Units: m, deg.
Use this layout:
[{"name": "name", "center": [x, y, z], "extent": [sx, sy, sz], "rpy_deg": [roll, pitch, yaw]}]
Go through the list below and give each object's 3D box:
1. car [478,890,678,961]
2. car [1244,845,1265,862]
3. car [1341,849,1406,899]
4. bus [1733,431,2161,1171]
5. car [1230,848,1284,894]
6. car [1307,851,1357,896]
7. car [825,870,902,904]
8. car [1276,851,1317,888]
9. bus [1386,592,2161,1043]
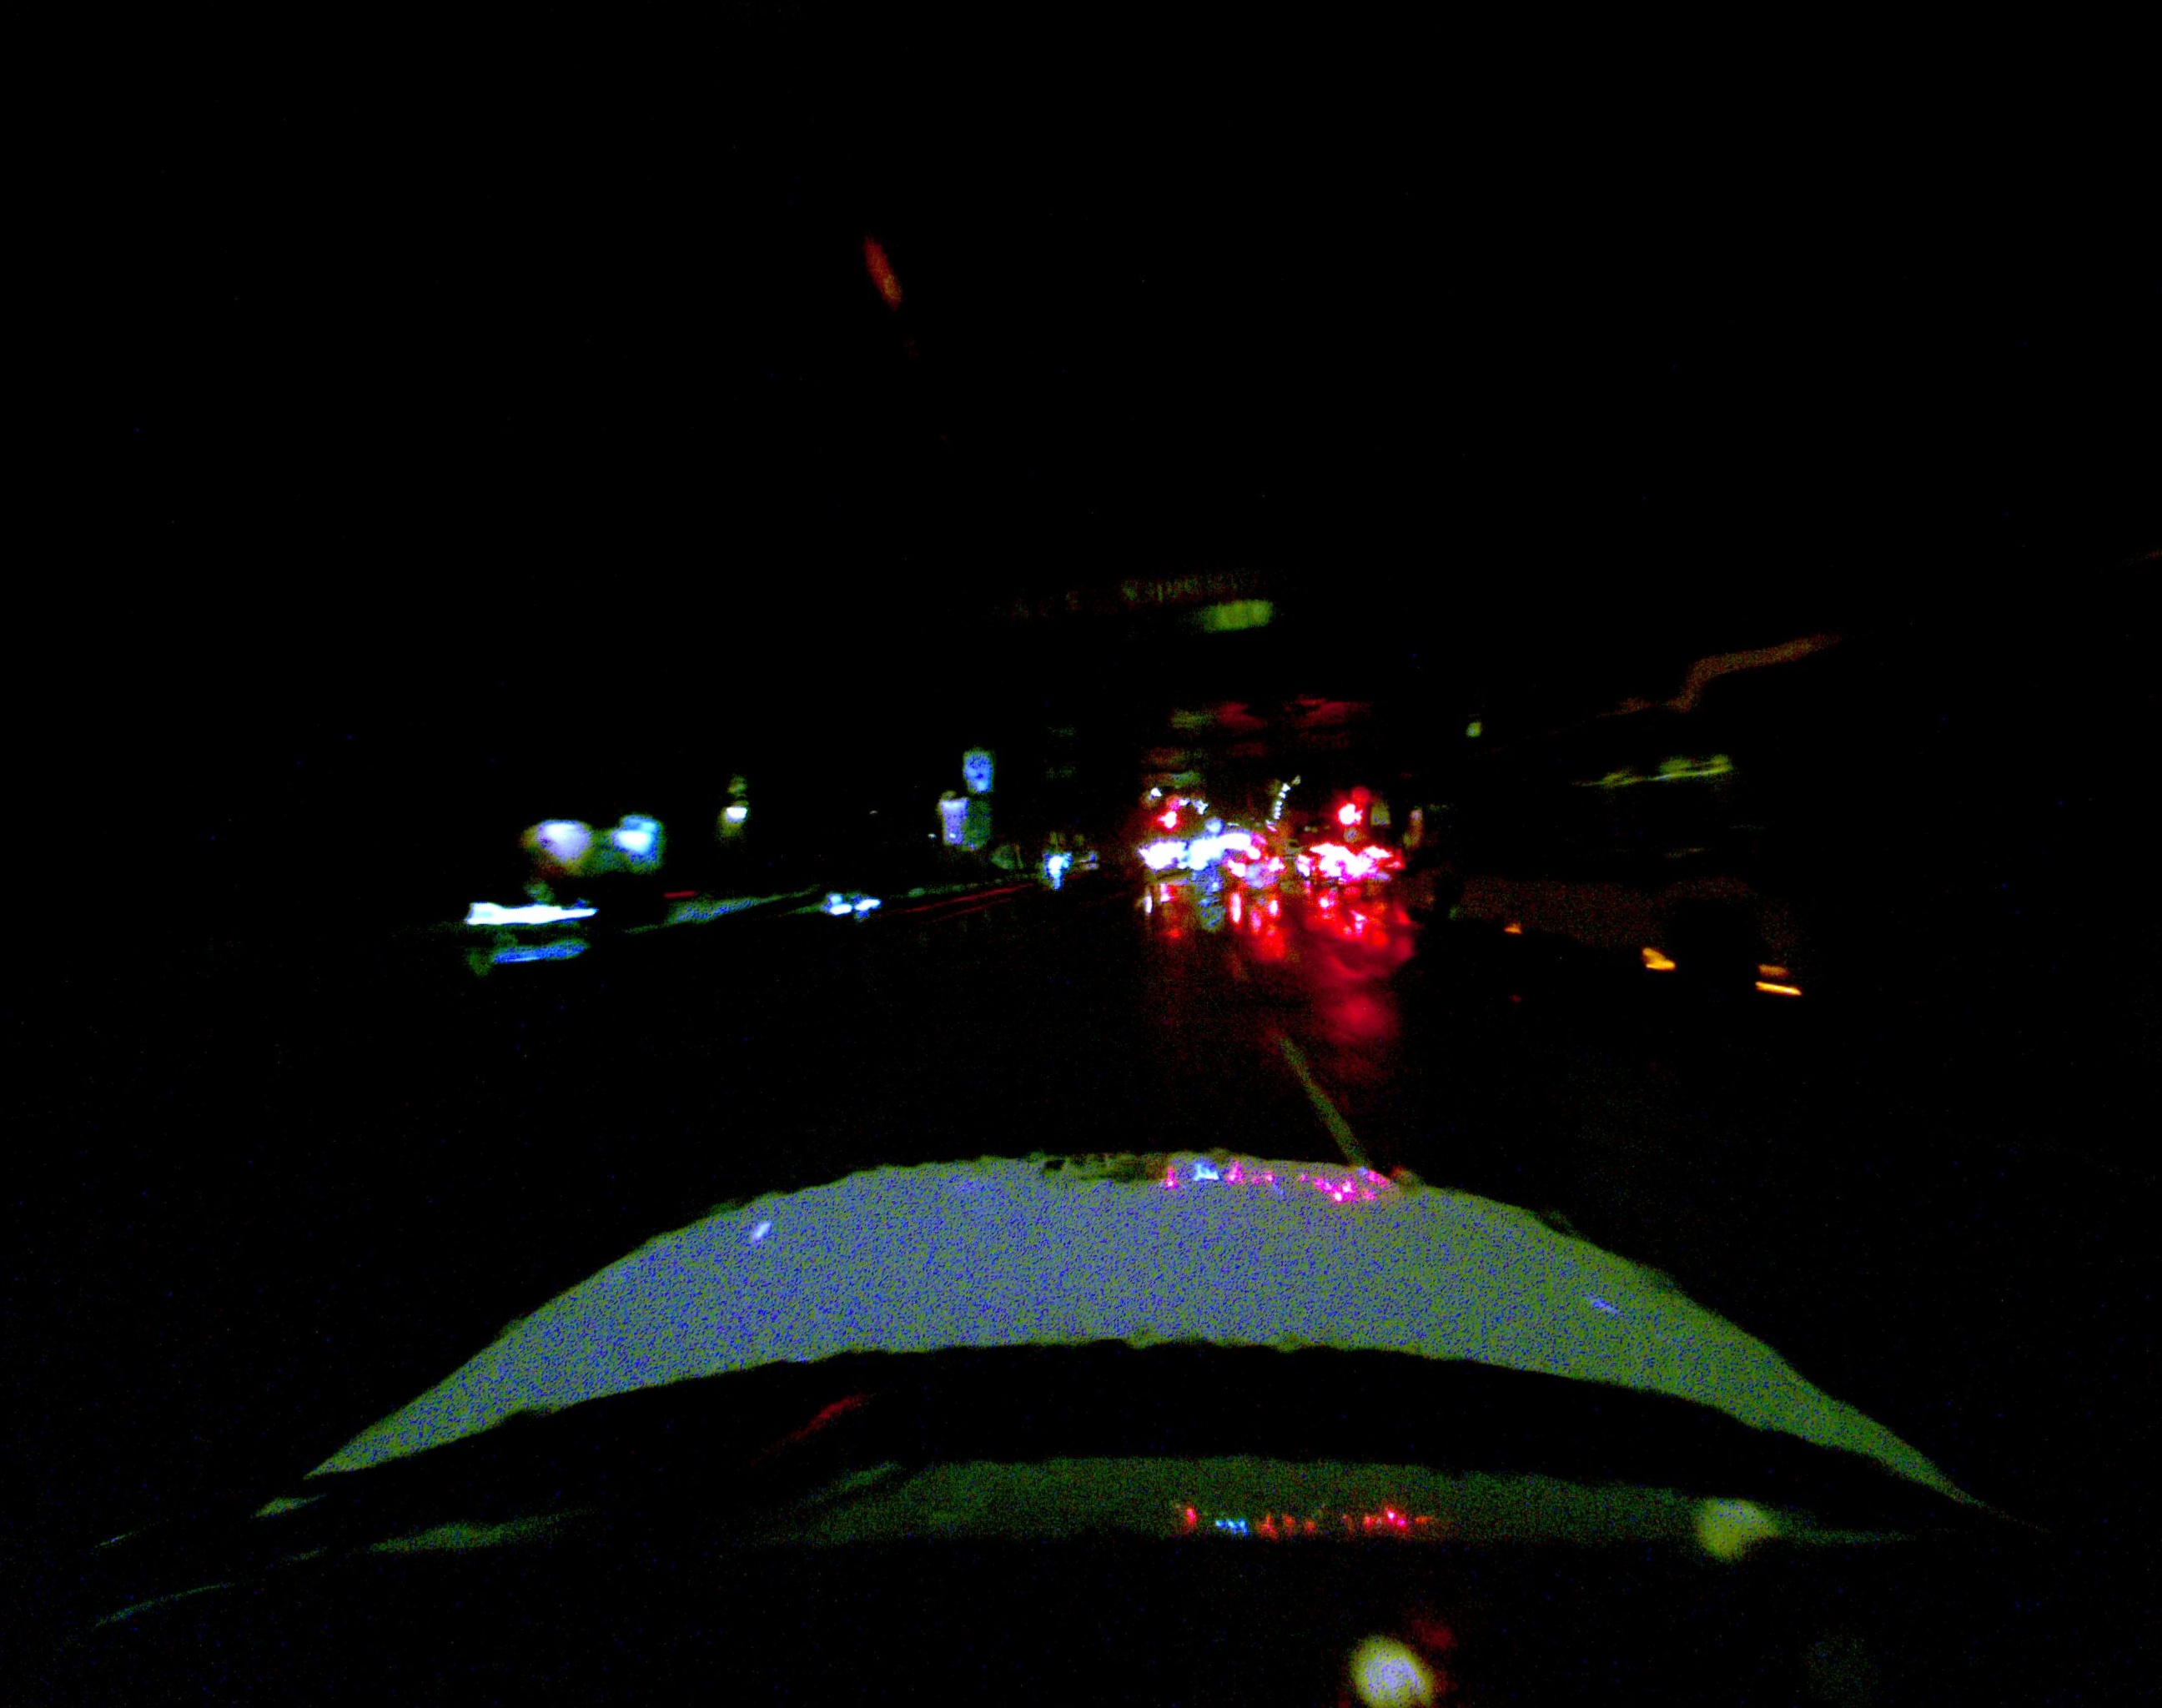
[{"name": "car", "center": [-11.728, 1.622, 19.383], "extent": [1.845, 1.288, 4.138], "rpy_deg": [-2, 0, 6]}, {"name": "car", "center": [18.447, -0.044, 86.370], "extent": [1.774, 1.684, 4.017], "rpy_deg": [-2, -1, 16]}, {"name": "car", "center": [9.793, 0.622, 27.499], "extent": [1.762, 1.501, 4.017], "rpy_deg": [-2, -1, 16]}, {"name": "bus", "center": [6.094, -0.262, 1.379], "extent": [3.031, 3.212, 9.057], "rpy_deg": [-2, 0, 3]}, {"name": "car", "center": [7.129, 0.634, 32.787], "extent": [1.774, 1.684, 4.017], "rpy_deg": [-2, -1, 16]}, {"name": "car", "center": [10.280, 0.746, 33.436], "extent": [1.774, 1.684, 4.017], "rpy_deg": [-2, -1, 16]}, {"name": "car", "center": [-9.501, 1.419, 35.877], "extent": [1.845, 1.288, 4.139], "rpy_deg": [-2, 0, 6]}, {"name": "car", "center": [10.724, 0.729, 40.367], "extent": [1.774, 1.684, 4.017], "rpy_deg": [-2, -1, 16]}, {"name": "bus", "center": [6.838, -0.236, 10.467], "extent": [3.029, 3.212, 9.061], "rpy_deg": [-2, 0, 4]}]
